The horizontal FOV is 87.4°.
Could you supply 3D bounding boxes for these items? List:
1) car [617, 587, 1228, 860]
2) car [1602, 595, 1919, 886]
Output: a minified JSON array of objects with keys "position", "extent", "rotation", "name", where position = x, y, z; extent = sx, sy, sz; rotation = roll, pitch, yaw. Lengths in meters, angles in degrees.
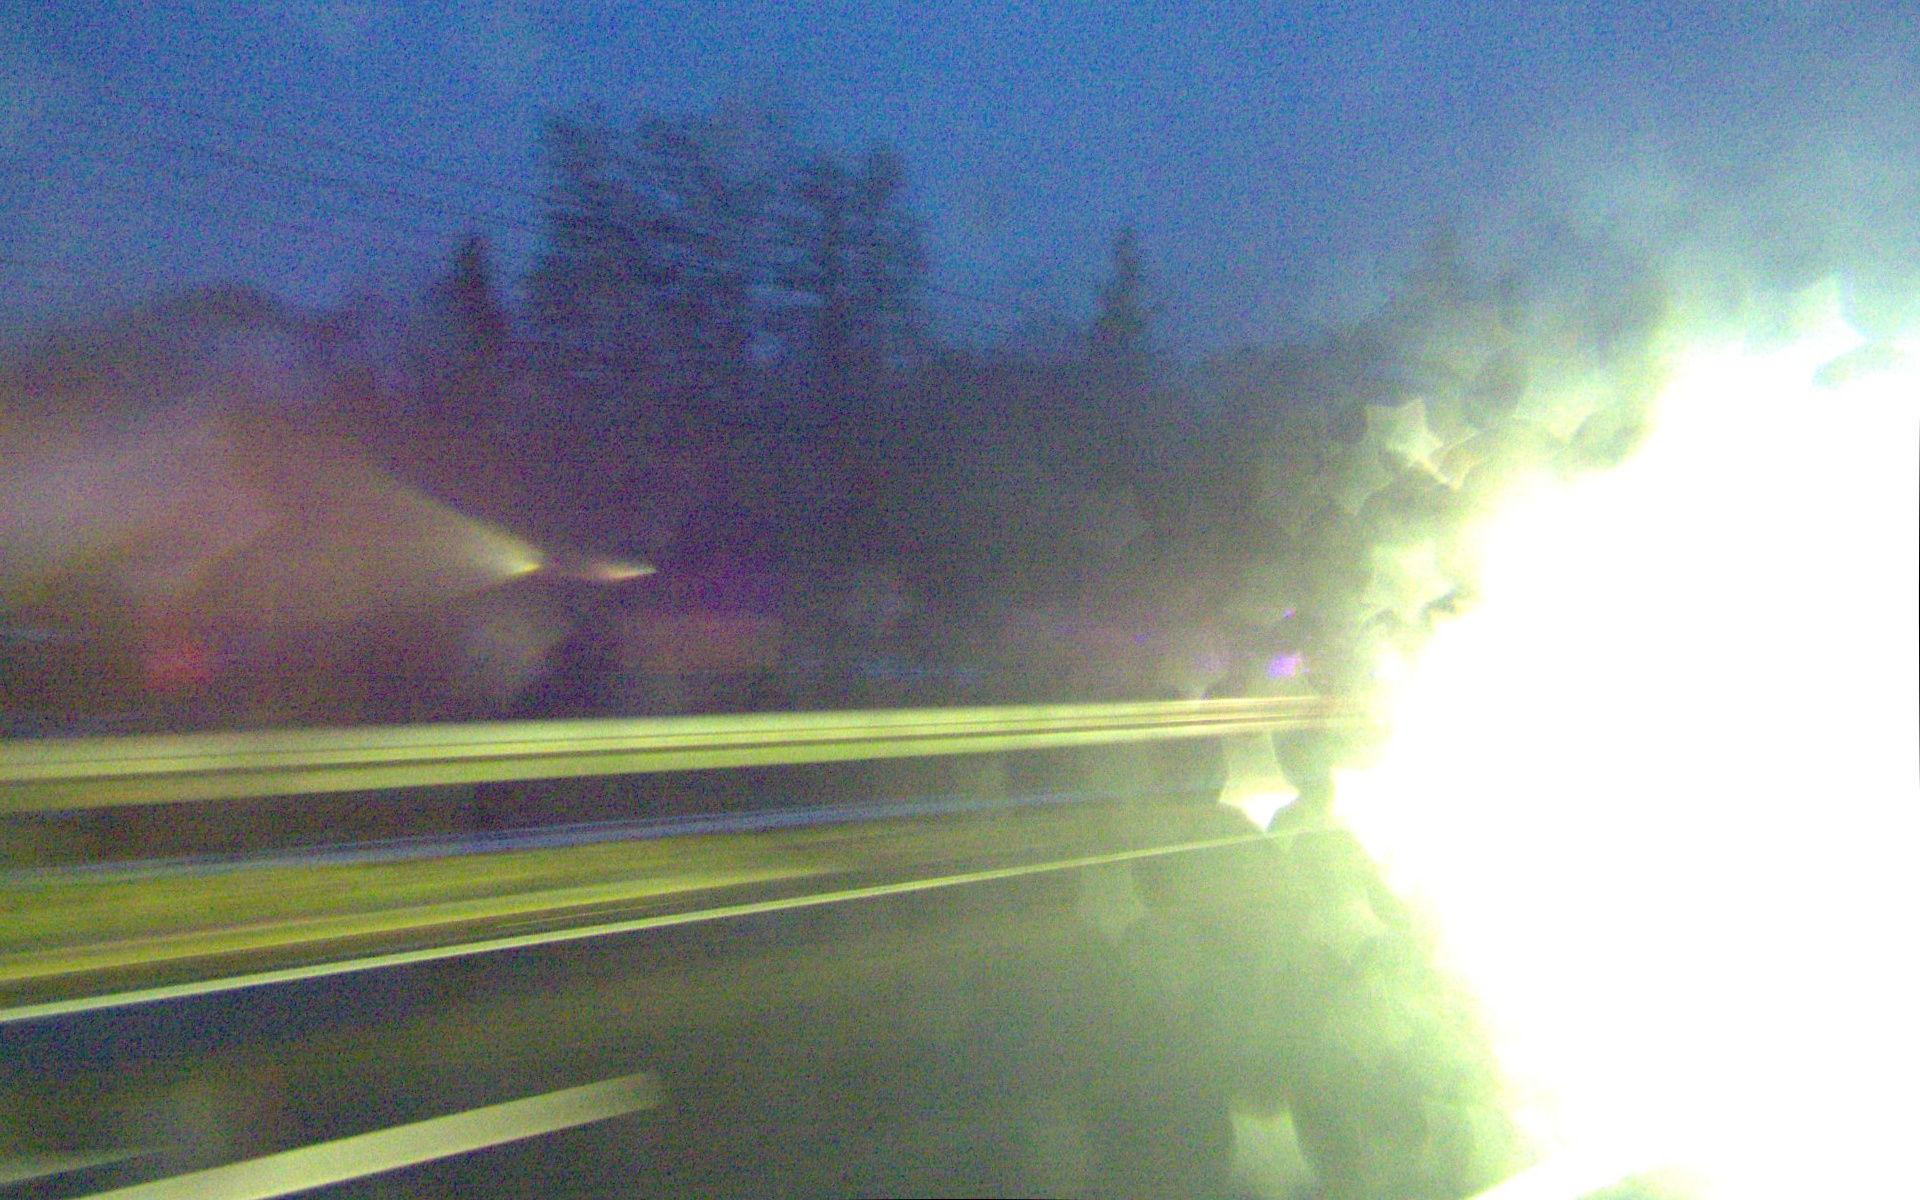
[{"position":[-0.188,0.768,7.779],"extent":[4.391,1.575,1.821],"rotation":[2,0,-31],"name":"car"},{"position":[7.170,0.874,7.611],"extent":[4.765,1.660,1.937],"rotation":[2,-1,-30],"name":"car"}]
